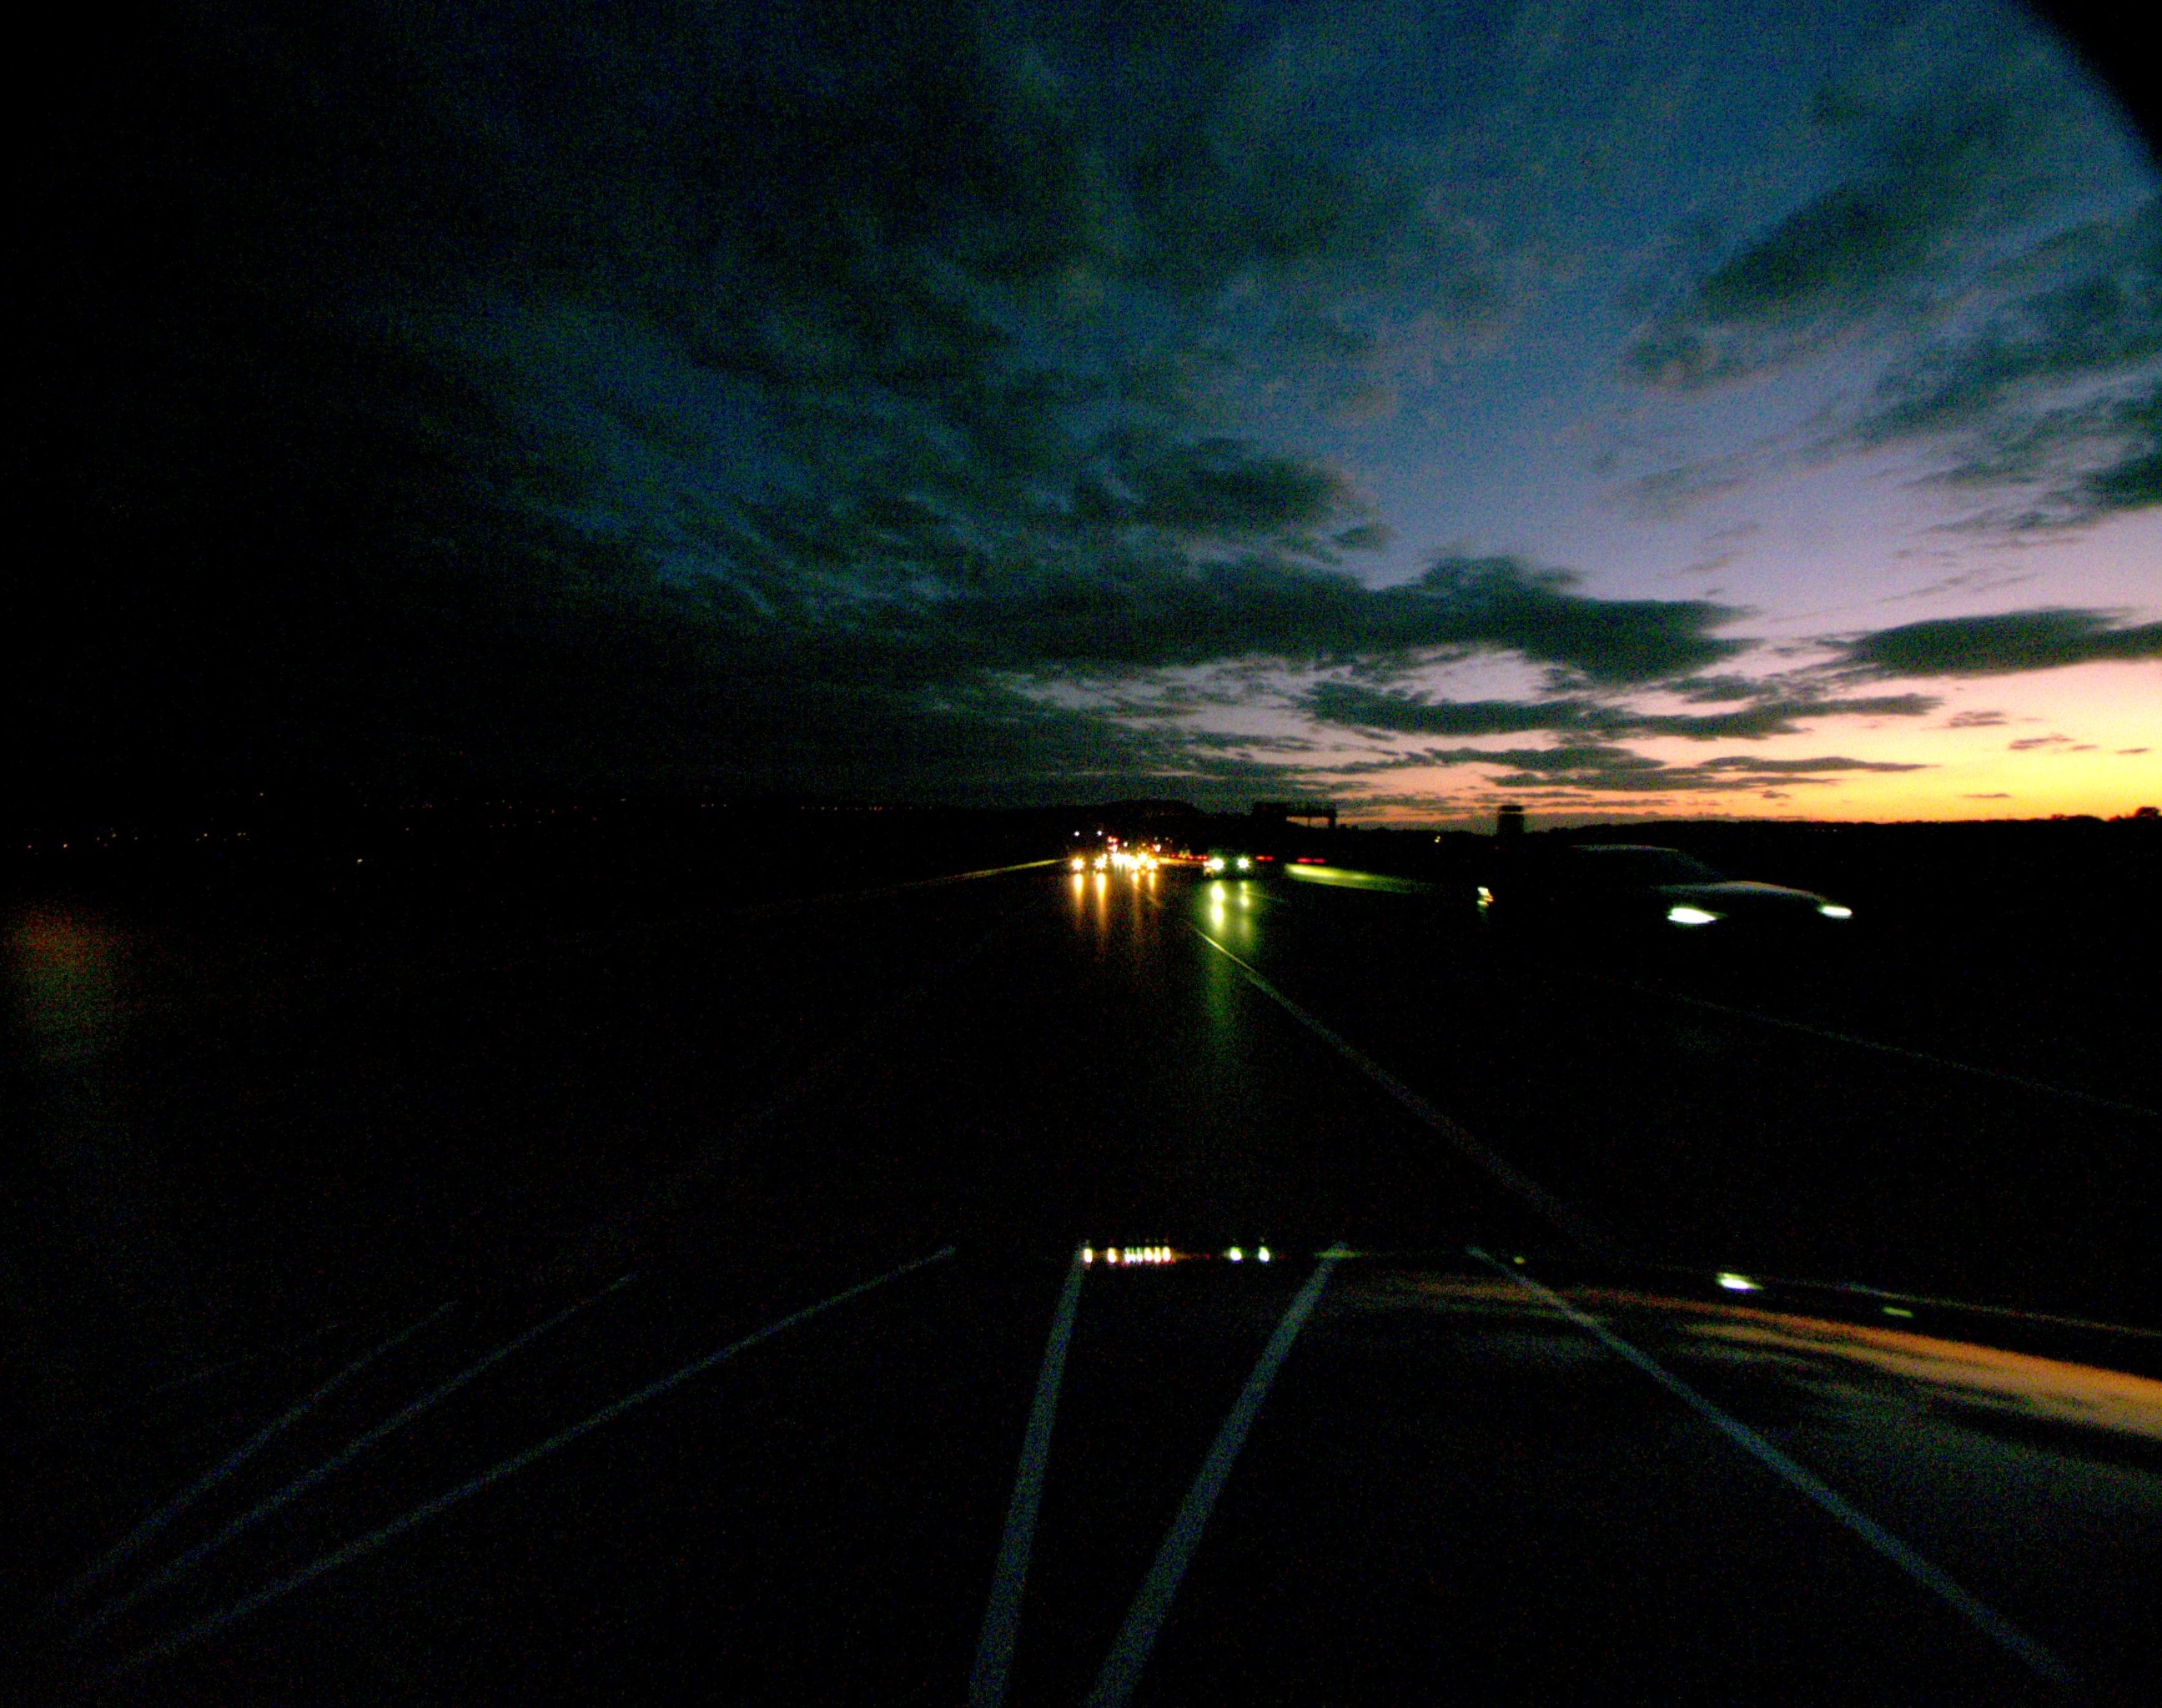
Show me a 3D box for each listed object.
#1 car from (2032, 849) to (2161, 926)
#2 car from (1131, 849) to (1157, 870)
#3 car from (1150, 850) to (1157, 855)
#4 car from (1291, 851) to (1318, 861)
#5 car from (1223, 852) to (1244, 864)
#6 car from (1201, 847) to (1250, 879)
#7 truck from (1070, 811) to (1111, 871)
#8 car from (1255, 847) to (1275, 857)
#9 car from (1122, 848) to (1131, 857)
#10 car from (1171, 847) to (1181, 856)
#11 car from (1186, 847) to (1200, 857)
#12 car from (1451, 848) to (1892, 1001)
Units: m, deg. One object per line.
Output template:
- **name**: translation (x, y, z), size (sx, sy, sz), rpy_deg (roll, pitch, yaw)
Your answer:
- **car**: translation (23.286, 0.706, 15.693), size (1.662, 1.526, 4.520), rpy_deg (-2, 1, 1)
- **car**: translation (5.157, 0.434, 62.555), size (1.802, 1.531, 4.159), rpy_deg (-2, 1, 1)
- **car**: translation (23.973, -0.556, 251.622), size (1.998, 1.404, 4.658), rpy_deg (-2, 1, 1)
- **car**: translation (20.499, 0.129, 69.770), size (1.245, 0.790, 4.415), rpy_deg (-2, 1, 1)
- **car**: translation (17.767, 0.414, 88.439), size (1.670, 1.211, 3.999), rpy_deg (-2, 1, 1)
- **car**: translation (8.121, 0.446, 43.056), size (1.819, 1.638, 4.856), rpy_deg (-2, 1, 1)
- **truck**: translation (0.848, -1.000, 66.188), size (3.012, 4.570, 12.578), rpy_deg (-2, 0, 1)
- **car**: translation (23.233, -0.218, 96.071), size (1.670, 1.174, 3.999), rpy_deg (-2, 1, 1)
- **car**: translation (10.817, -0.334, 179.460), size (1.862, 1.826, 3.999), rpy_deg (-2, 1, 1)
- **car**: translation (27.058, -0.682, 216.044), size (1.998, 2.374, 5.835), rpy_deg (-2, 1, 1)
- **car**: translation (17.381, -0.274, 117.998), size (1.649, 1.445, 3.999), rpy_deg (-2, 1, 1)
- **car**: translation (7.232, 0.687, 10.313), size (1.819, 1.429, 5.394), rpy_deg (-2, 1, 1)
